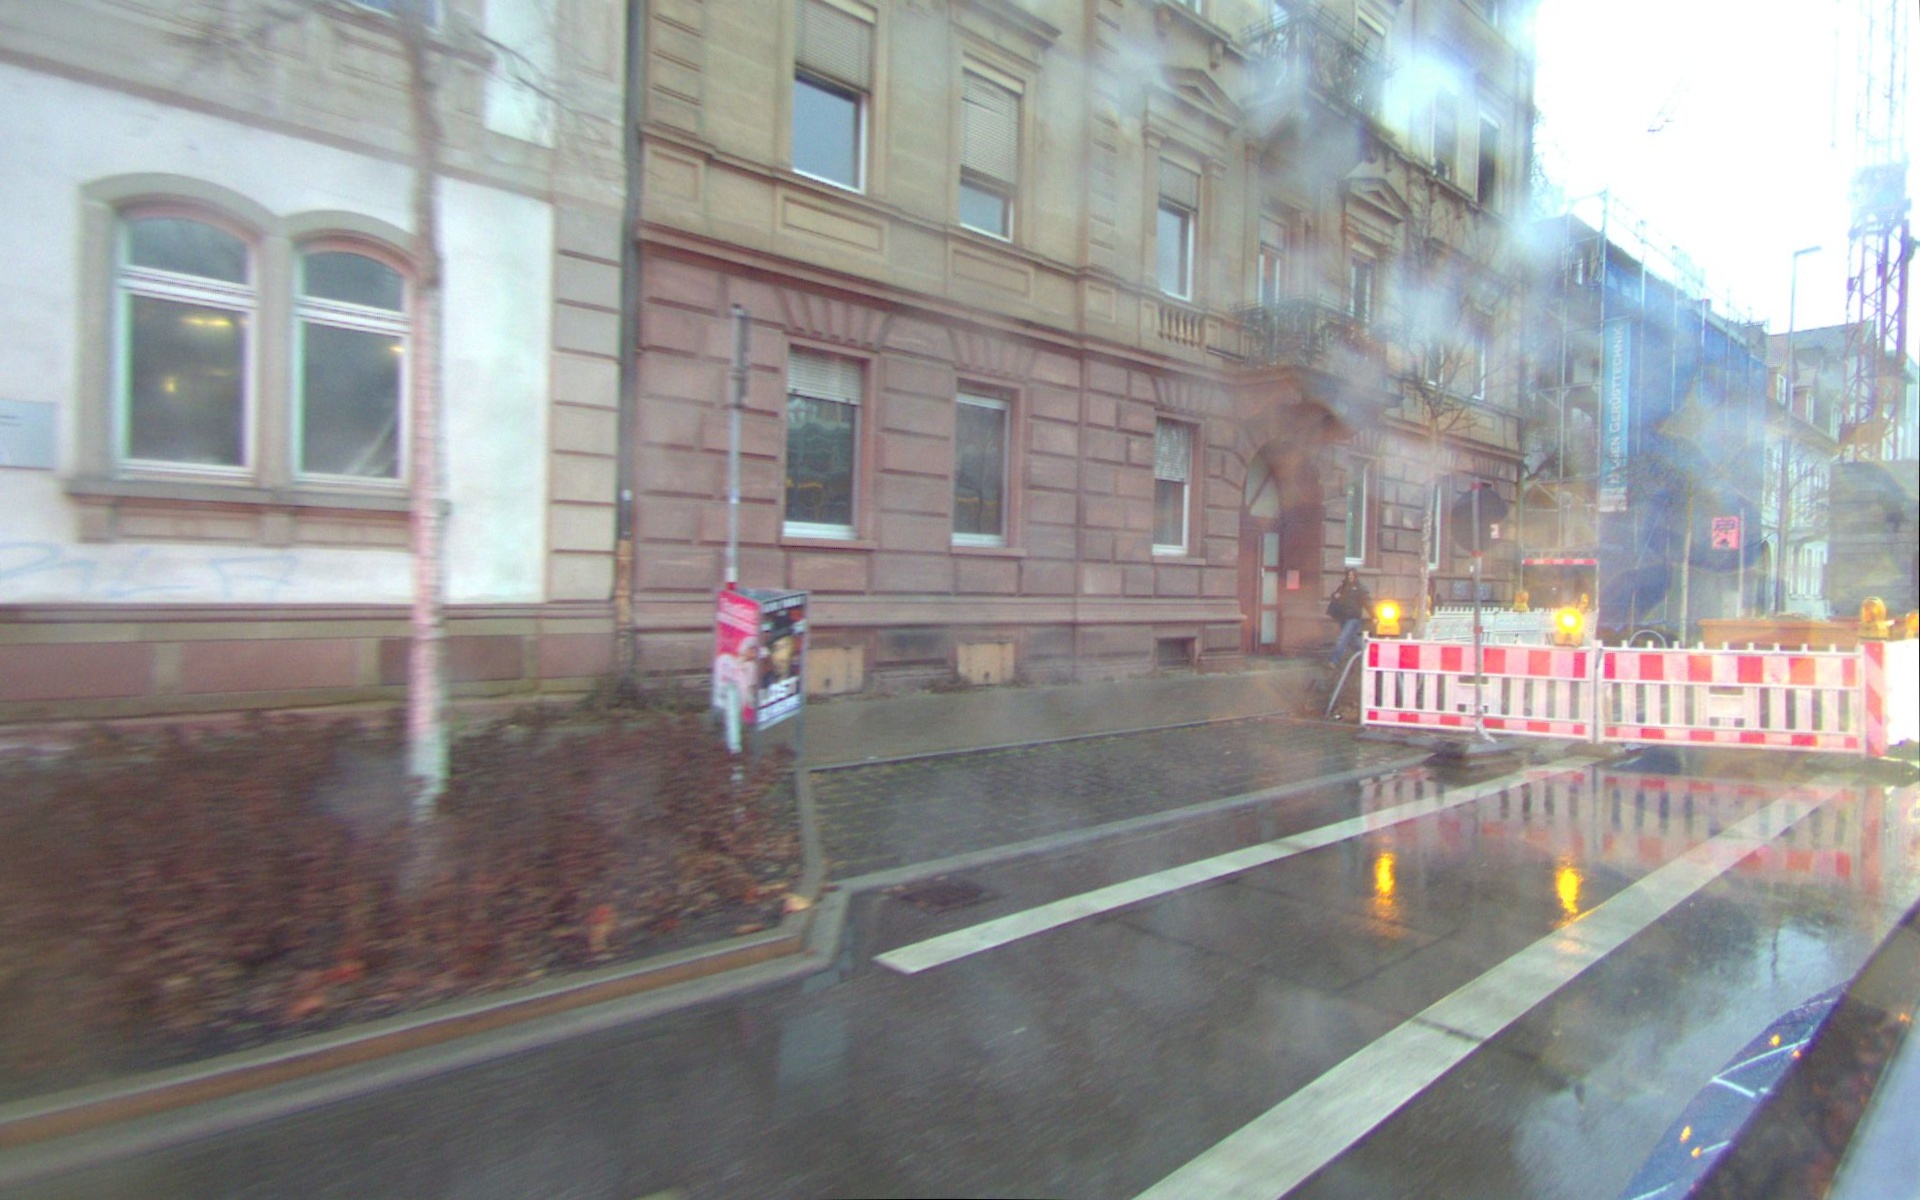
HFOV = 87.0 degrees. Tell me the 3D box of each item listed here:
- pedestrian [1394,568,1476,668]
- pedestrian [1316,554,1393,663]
[{"bbox_3d":[7.811,0.282,16.653,0.913,1.564,0.870,1,2,-40],"label":"pedestrian"},{"bbox_3d":[6.353,0.118,16.306,0.694,1.693,0.870,1,2,-40],"label":"pedestrian"}]
